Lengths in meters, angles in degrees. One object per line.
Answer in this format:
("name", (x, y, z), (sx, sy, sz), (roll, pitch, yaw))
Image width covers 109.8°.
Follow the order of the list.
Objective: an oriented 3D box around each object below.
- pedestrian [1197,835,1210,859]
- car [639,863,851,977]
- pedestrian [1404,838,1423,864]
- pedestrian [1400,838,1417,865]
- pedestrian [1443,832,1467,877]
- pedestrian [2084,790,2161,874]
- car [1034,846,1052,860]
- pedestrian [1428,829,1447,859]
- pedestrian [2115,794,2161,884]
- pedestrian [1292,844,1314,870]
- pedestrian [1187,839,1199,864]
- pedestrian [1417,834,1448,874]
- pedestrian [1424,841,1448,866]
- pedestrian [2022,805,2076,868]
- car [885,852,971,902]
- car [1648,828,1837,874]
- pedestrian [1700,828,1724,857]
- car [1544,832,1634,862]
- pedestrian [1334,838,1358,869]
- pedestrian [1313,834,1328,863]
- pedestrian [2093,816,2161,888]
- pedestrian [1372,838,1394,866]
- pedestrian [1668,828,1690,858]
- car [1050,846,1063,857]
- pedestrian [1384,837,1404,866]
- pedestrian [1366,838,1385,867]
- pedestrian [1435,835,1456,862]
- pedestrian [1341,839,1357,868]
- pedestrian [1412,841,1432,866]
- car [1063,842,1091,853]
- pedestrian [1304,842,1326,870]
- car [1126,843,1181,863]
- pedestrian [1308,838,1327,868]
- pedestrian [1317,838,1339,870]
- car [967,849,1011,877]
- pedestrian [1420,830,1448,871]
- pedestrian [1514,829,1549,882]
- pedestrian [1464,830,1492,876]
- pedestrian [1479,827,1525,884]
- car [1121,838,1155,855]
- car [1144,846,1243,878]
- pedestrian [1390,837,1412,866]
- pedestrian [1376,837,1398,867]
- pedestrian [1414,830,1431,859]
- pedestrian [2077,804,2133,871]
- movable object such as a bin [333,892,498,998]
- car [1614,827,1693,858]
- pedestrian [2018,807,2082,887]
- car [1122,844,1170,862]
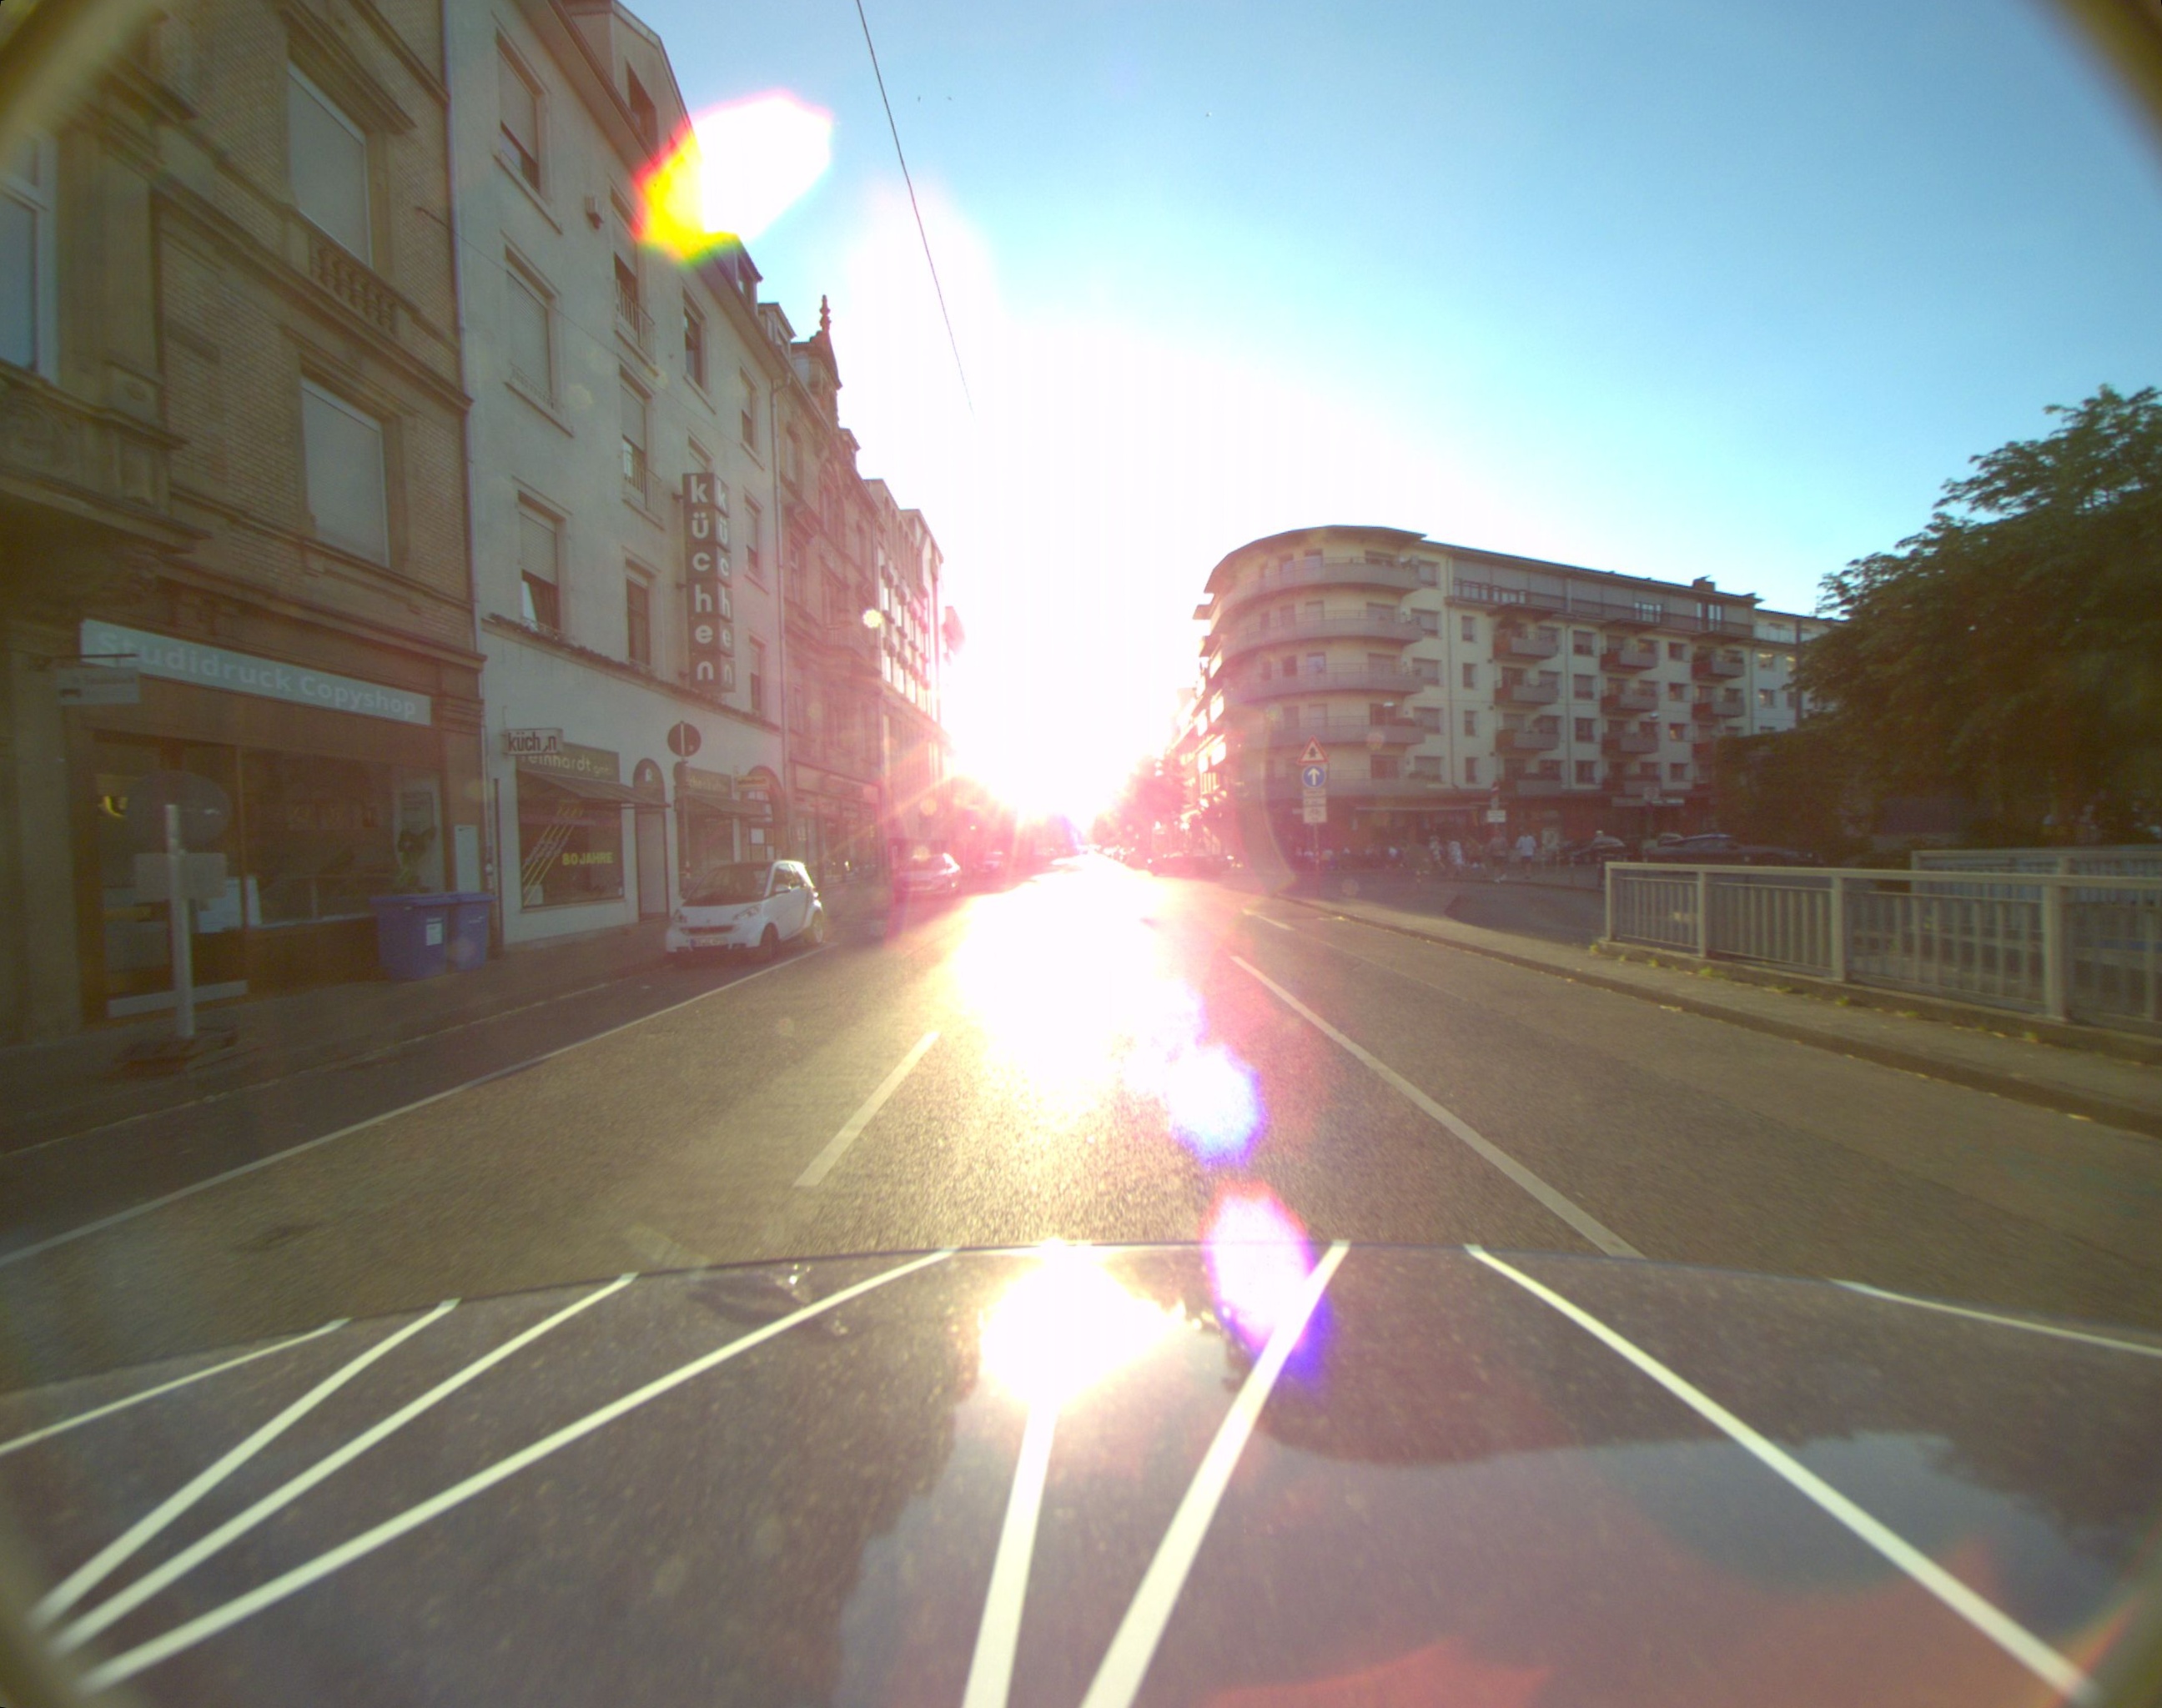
("pedestrian", (9.699, -0.554, 60.214), (0.730, 1.937, 0.804), (-2, 1, -5))
("car", (-5.442, 0.977, 12.922), (1.704, 1.575, 4.000), (-2, 0, 1))
("pedestrian", (18.579, -0.152, 42.480), (0.603, 1.413, 0.713), (-2, 0, -24))
("pedestrian", (17.991, -0.142, 41.761), (0.562, 1.426, 0.666), (-2, 3, -26))
("pedestrian", (15.420, 0.025, 31.303), (0.712, 1.792, 0.884), (-2, 0, 34))
("pedestrian", (23.588, -0.483, 17.178), (0.986, 1.842, 0.888), (-2, 0, -25))
("car", (-4.542, -0.138, 91.647), (1.999, 1.543, 3.999), (-2, 1, 0))
("pedestrian", (21.248, -0.593, 45.272), (0.669, 1.711, 0.717), (-2, 1, -24))
("pedestrian", (22.945, -0.320, 16.239), (0.781, 1.864, 0.714), (-2, 0, -13))
("pedestrian", (11.449, 0.133, 39.177), (0.684, 1.275, 0.969), (-1, 4, 42))
("pedestrian", (8.846, -0.232, 60.071), (0.730, 1.937, 0.740), (-2, 1, -5))
("pedestrian", (16.170, -0.010, 34.947), (0.870, 1.783, 0.850), (-2, 0, -21))
("pedestrian", (19.401, -0.055, 41.530), (0.852, 1.298, 0.877), (-2, 3, -3))
("pedestrian", (28.200, -0.510, 22.134), (0.798, 1.771, 0.761), (-3, 1, -21))
("car", (-5.177, 0.746, 26.313), (1.999, 1.526, 4.682), (-2, 0, 0))
("car", (22.686, -0.062, 26.270), (2.110, 1.422, 4.440), (-2, 0, -29))
("pedestrian", (38.340, -0.701, 46.167), (0.704, 1.717, 0.919), (-2, 1, -28))
("car", (28.939, -0.382, 43.287), (4.635, 1.543, 1.877), (-2, 0, -21))
("pedestrian", (13.604, -0.039, 39.037), (0.854, 1.528, 0.712), (-2, 5, -22))
("pedestrian", (14.623, -0.333, 46.374), (0.618, 1.766, 0.611), (-2, 1, -25))
("pedestrian", (22.215, -0.031, 16.122), (0.714, 1.477, 0.605), (-2, 0, 36))
("pedestrian", (16.534, -0.088, 41.546), (0.784, 1.495, 0.768), (-2, 1, -25))
("pedestrian", (37.494, -0.664, 47.625), (1.005, 1.816, 0.948), (-2, 0, 39))
("car", (-3.753, -0.356, 116.223), (1.756, 1.543, 4.286), (-2, 1, 0))
("pedestrian", (16.800, -0.136, 40.826), (0.701, 1.519, 0.649), (-2, 5, -27))
("pedestrian", (15.937, -0.109, 41.165), (0.655, 1.528, 0.674), (-2, 4, -25))
("pedestrian", (20.672, -0.300, 43.124), (0.716, 1.527, 0.851), (-2, 0, -45))
("pedestrian", (14.366, -0.032, 40.698), (0.647, 1.527, 0.753), (-2, 0, 10))
("pedestrian", (18.401, -0.042, 41.034), (0.750, 1.337, 0.654), (-2, 4, -26))
("car", (-0.748, -1.226, 142.223), (4.836, 2.002, 2.004), (-1, 1, 37))
("pedestrian", (11.832, 0.097, 38.471), (0.768, 1.374, 0.841), (0, 3, 41))
("car", (6.091, -0.098, 64.504), (4.442, 1.533, 1.817), (-2, 1, -1))
("pedestrian", (12.554, -0.066, 40.281), (0.712, 1.527, 0.855), (-2, 0, 32))
("pedestrian", (12.701, 0.001, 39.106), (0.689, 1.527, 0.714), (7, 1, -7))
("car", (-5.335, 0.506, 44.553), (1.998, 1.511, 4.000), (-1, 0, 1))
("pedestrian", (15.849, -0.153, 34.101), (0.737, 1.783, 0.811), (-2, 0, -21))
("pedestrian", (15.896, 0.056, 26.841), (0.982, 1.783, 0.892), (-2, 0, 30))
("pedestrian", (16.365, -0.027, 31.339), (0.850, 1.865, 0.715), (-2, 0, 18))
("pedestrian", (14.355, 0.047, 25.916), (0.891, 1.872, 0.983), (-2, 0, -21))
("car", (7.249, -0.951, 96.772), (3.998, 2.002, 1.999), (-2, 1, -2))
("car", (5.464, 0.359, 37.362), (4.603, 1.400, 1.814), (0, 3, 44))
("pedestrian", (17.435, -0.141, 41.395), (0.680, 1.527, 0.851), (-2, 0, -26))
("pedestrian", (16.212, -0.111, 40.263), (0.760, 1.528, 0.712), (-2, 5, -27))
("pedestrian", (20.175, -0.559, 44.882), (0.618, 1.728, 0.611), (-2, 1, -24))
("pedestrian", (28.570, -0.462, 21.198), (1.124, 1.809, 0.701), (-2, 1, -24))
("movable object such as a bin", (-8.598, 1.137, 9.905), (0.868, 1.180, 1.398), (-2, 1, 1))
("car", (34.367, -0.668, 45.607), (4.142, 1.689, 1.881), (-2, 0, -23))
("pedestrian", (21.646, -0.145, 16.989), (0.685, 1.736, 0.717), (-2, 0, 38))
("car", (5.694, -0.112, 66.883), (3.998, 1.412, 1.999), (-2, 1, -3))
